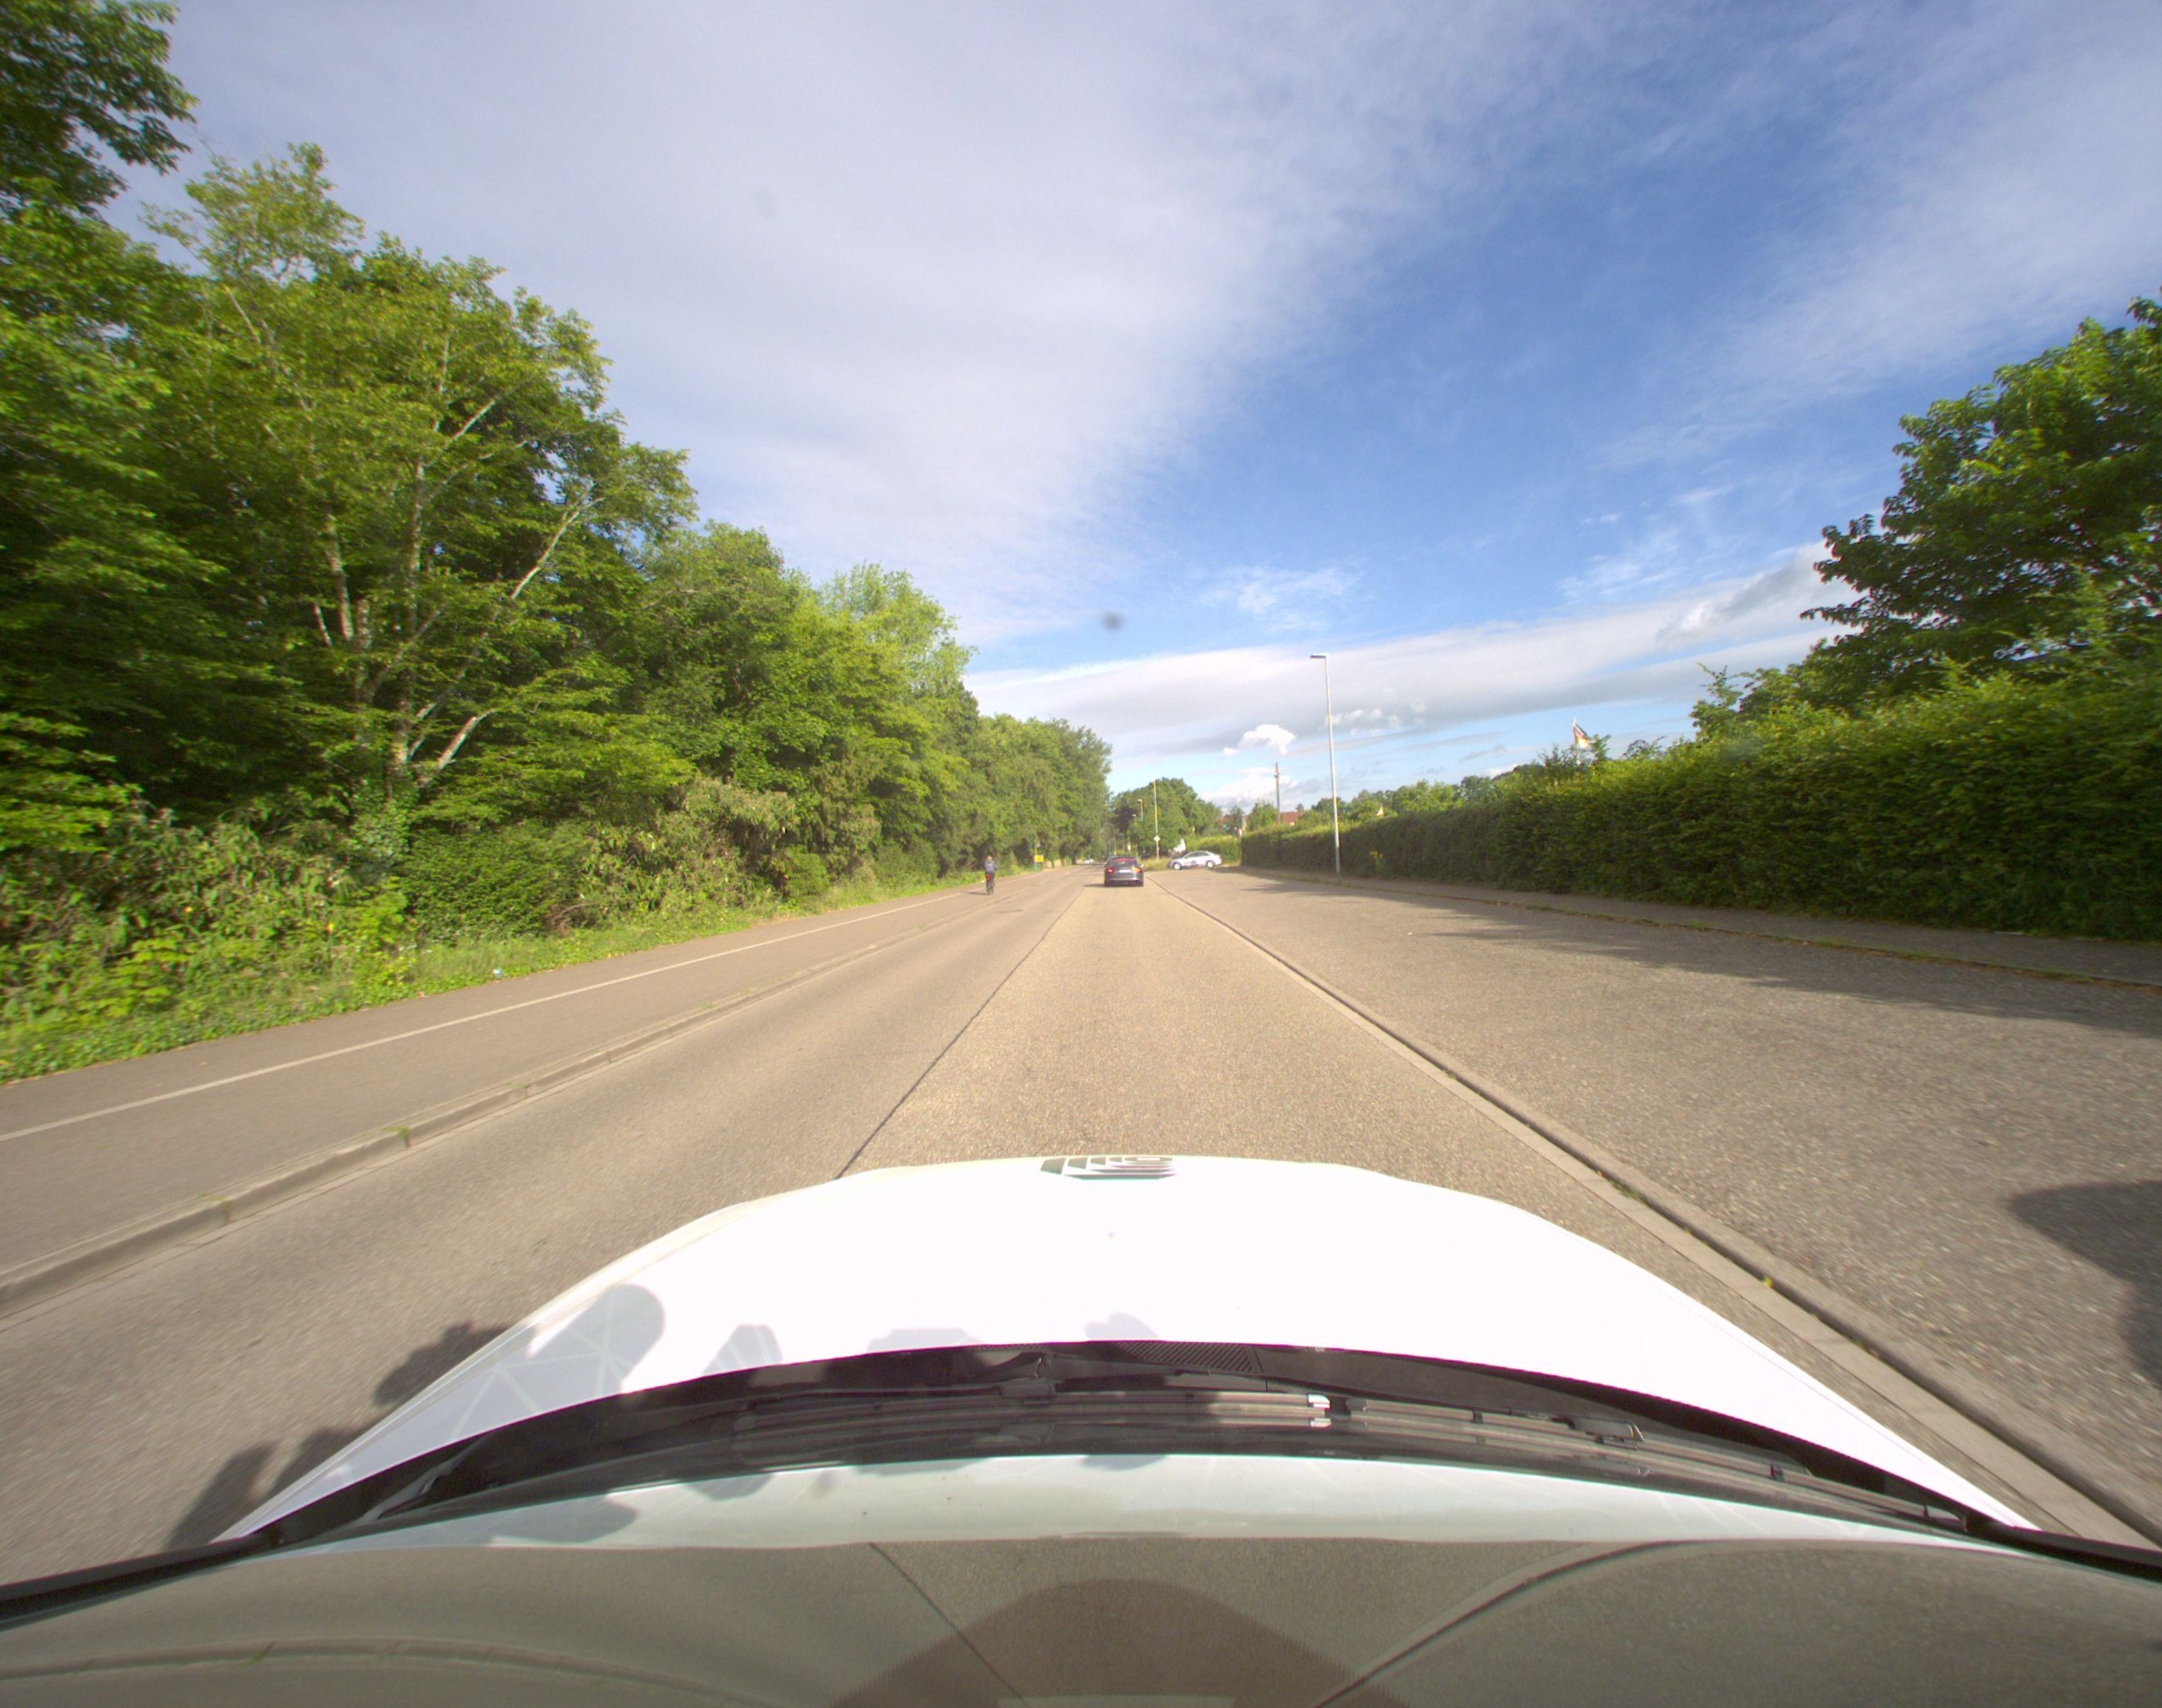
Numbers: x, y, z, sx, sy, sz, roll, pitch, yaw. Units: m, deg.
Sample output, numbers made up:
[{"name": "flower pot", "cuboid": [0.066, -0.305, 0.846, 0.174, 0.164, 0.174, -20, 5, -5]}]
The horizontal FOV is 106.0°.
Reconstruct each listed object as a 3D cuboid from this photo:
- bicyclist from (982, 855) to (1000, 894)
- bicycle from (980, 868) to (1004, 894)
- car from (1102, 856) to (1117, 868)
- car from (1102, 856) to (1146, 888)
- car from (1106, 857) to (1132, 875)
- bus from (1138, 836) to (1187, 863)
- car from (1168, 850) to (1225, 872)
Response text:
[{"name": "bicyclist", "cuboid": [-3.953, 0.875, 35.793, 0.606, 1.677, 0.884, -1, 0, 2]}, {"name": "bicycle", "cuboid": [-3.937, 1.185, 36.118, 0.660, 1.097, 2.350, -1, 0, 3]}, {"name": "car", "cuboid": [3.822, 1.066, 108.968, 1.880, 1.372, 4.055, -3, -1, 1]}, {"name": "car", "cuboid": [2.078, 0.824, 39.440, 1.958, 1.434, 4.339, -2, 0, 3]}, {"name": "car", "cuboid": [3.002, 0.939, 64.760, 1.880, 1.372, 4.055, -3, -1, 1]}, {"name": "bus", "cuboid": [9.455, -0.516, 94.880, 5.350, 2.746, 2.068, -4, 0, -1]}, {"name": "car", "cuboid": [9.195, 0.555, 64.803, 4.337, 1.443, 1.937, -4, -1, 8]}]
